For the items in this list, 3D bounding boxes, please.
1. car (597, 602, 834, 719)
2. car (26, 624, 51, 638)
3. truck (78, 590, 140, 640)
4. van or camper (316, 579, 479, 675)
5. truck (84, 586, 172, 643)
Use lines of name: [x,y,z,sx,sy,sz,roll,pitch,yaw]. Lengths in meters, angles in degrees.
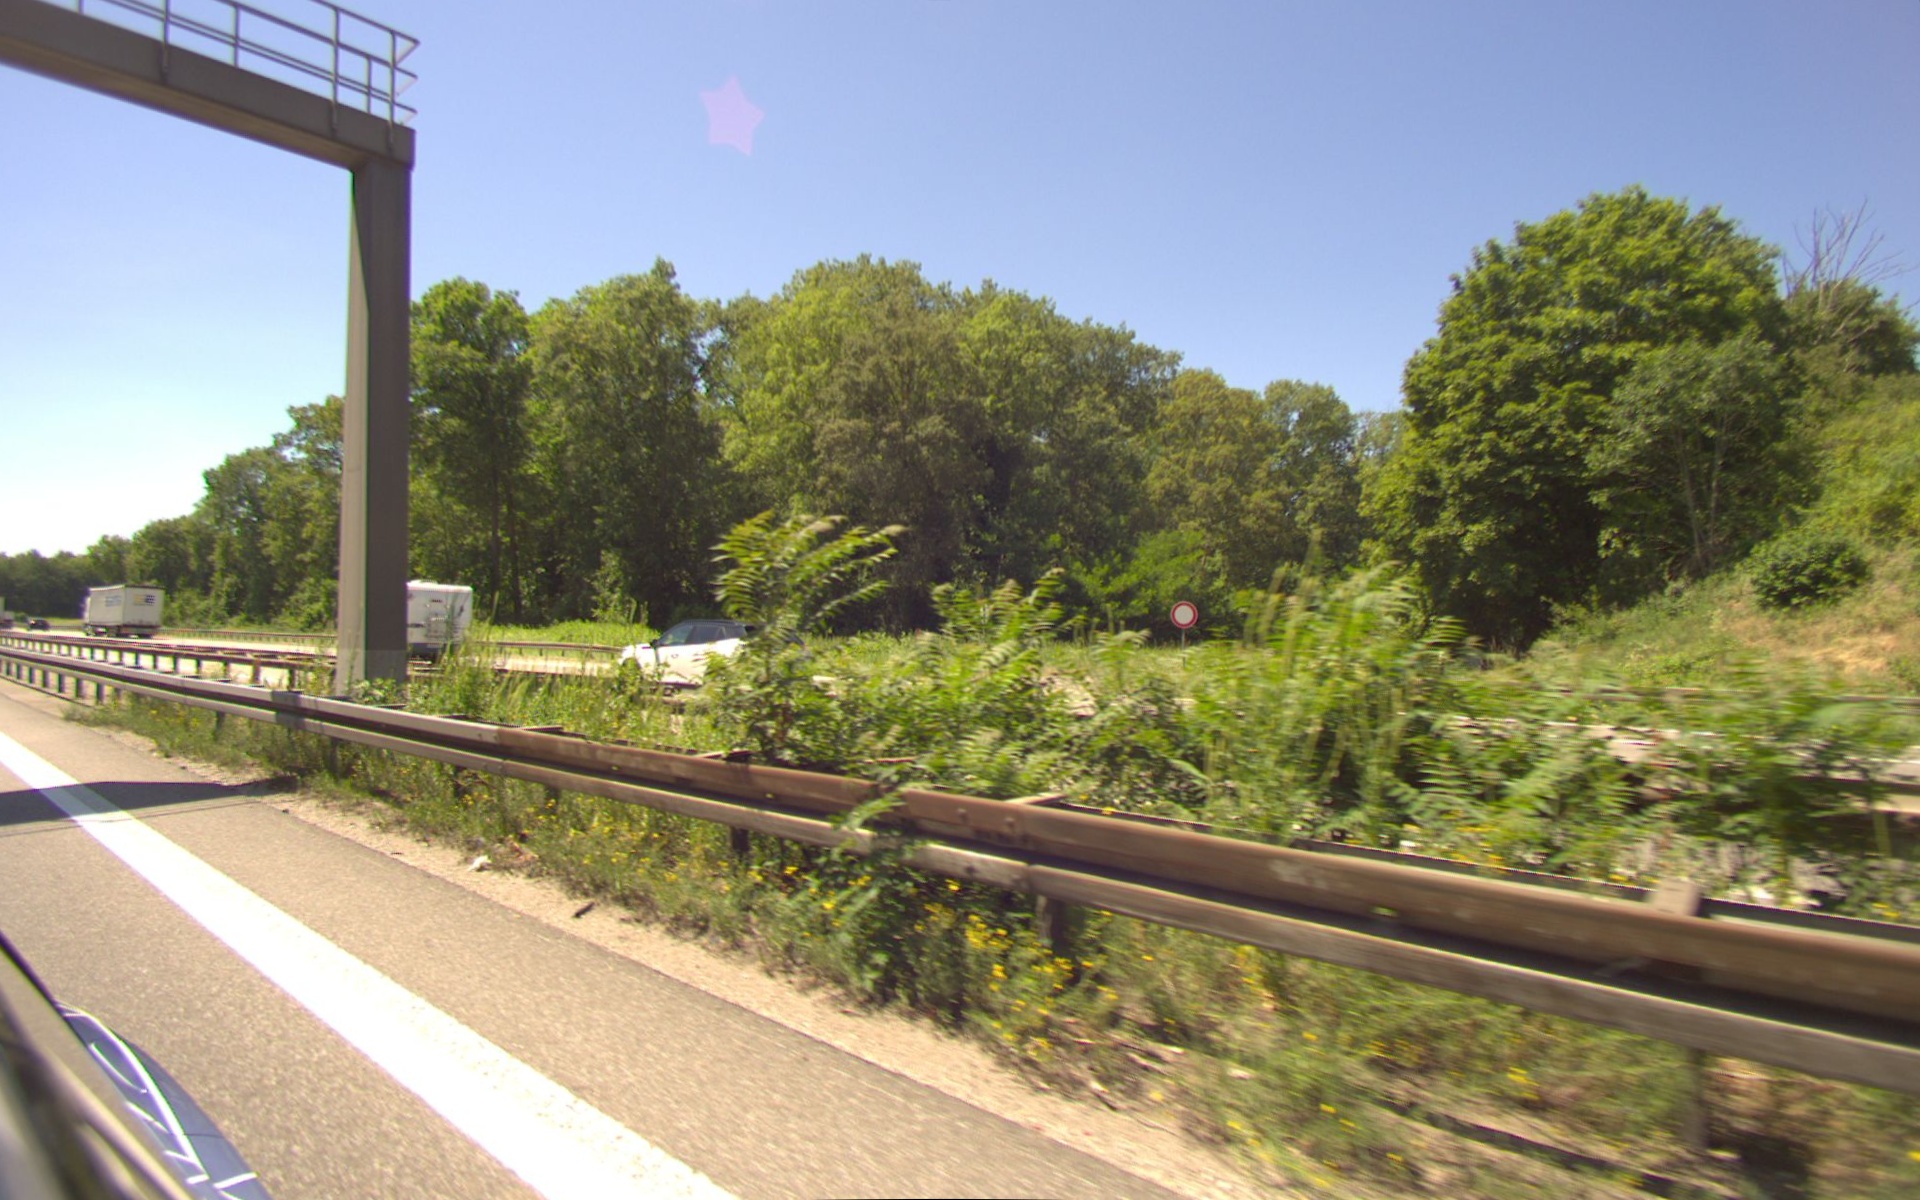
car: [-4.491,0.976,18.140,4.710,1.829,1.673,-1,0,40]
car: [-106.578,3.595,117.013,4.010,1.547,1.805,-1,-2,43]
truck: [-73.403,1.323,87.286,6.456,4.093,2.938,-1,-4,41]
van or camper: [-19.156,0.848,34.253,7.230,2.928,2.565,-1,0,41]
truck: [-68.483,1.183,83.096,13.952,4.284,3.034,-1,-4,41]
